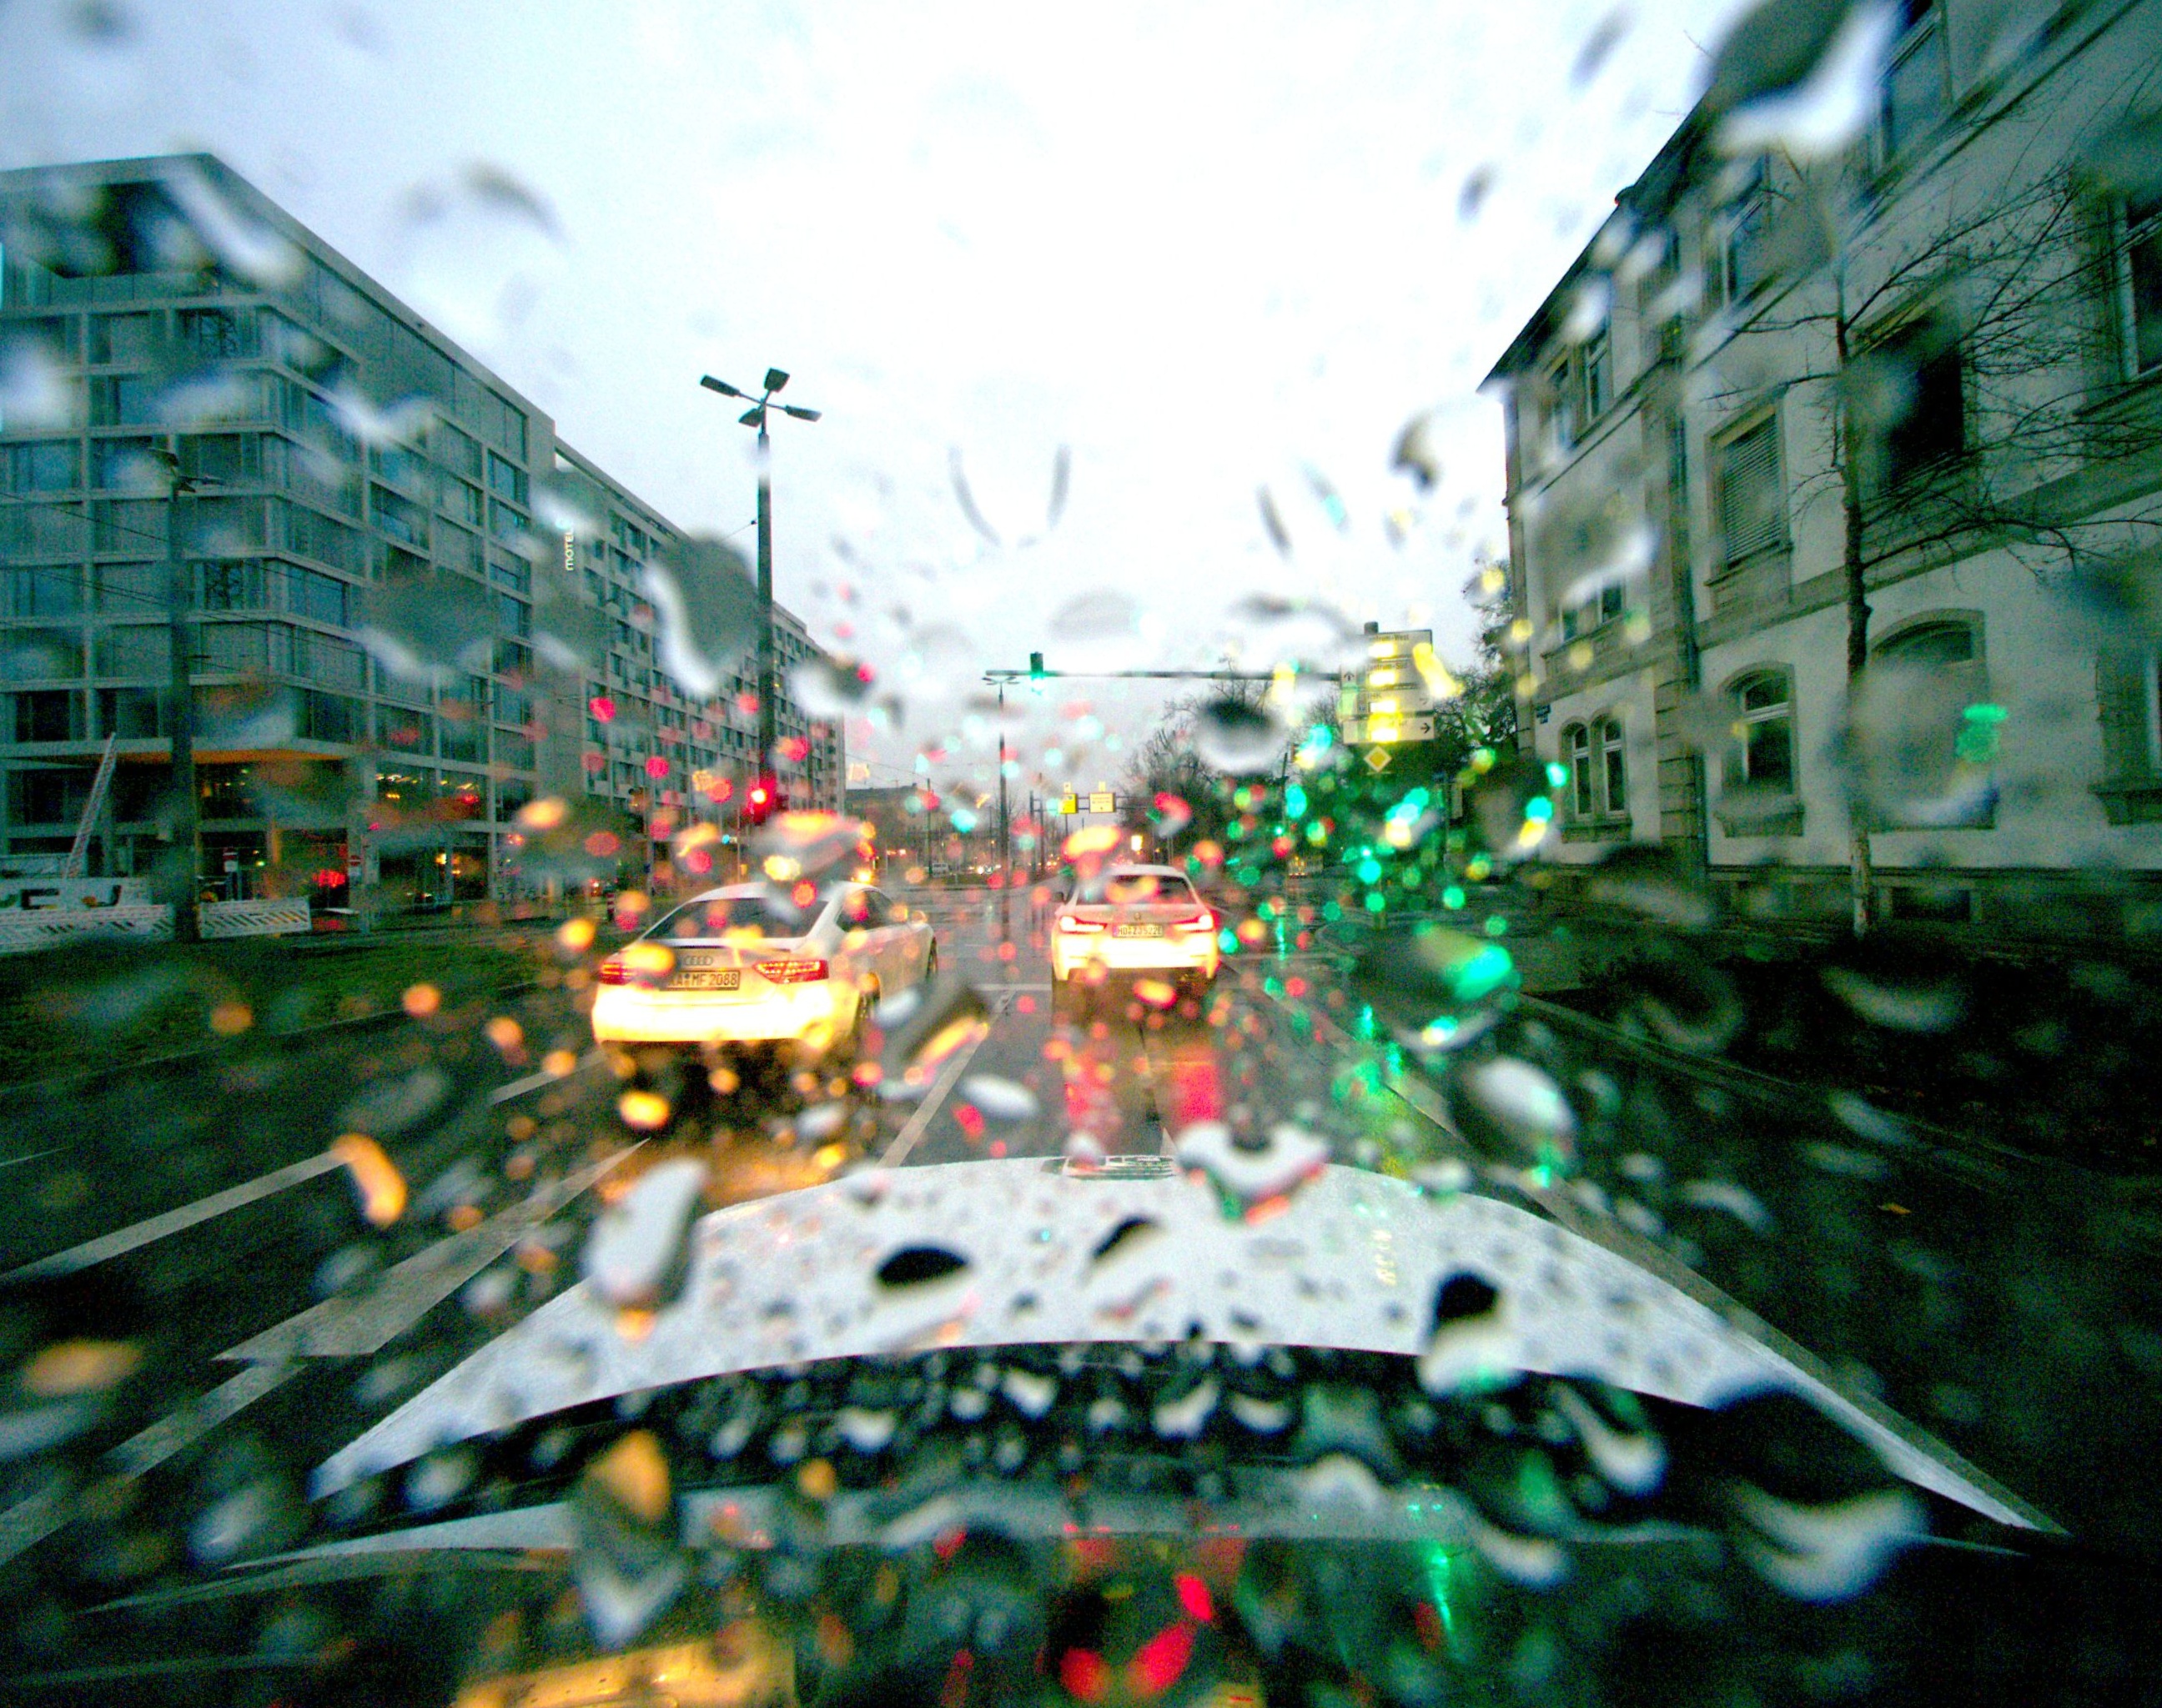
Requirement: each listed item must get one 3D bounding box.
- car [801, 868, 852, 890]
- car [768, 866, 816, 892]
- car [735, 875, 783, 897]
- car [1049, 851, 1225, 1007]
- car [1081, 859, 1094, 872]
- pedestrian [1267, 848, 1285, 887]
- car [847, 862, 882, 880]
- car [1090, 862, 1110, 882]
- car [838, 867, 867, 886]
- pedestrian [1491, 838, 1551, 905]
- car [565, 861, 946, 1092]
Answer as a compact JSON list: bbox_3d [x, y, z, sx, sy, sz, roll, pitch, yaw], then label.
[{"bbox_3d":[-18.665,1.801,60.004,1.986,1.462,5.097,0,-1,2],"label":"car"},{"bbox_3d":[-21.808,1.852,61.590,1.874,1.789,4.600,0,-1,2],"label":"car"},{"bbox_3d":[-25.122,2.459,63.670,1.872,1.574,4.005,0,-1,5],"label":"car"},{"bbox_3d":[0.559,0.771,10.307,1.754,1.552,4.250,0,-1,0],"label":"car"},{"bbox_3d":[1.091,1.860,128.535,1.986,2.014,4.001,0,-1,2],"label":"car"},{"bbox_3d":[9.561,0.641,39.864,0.671,1.879,0.714,0,-1,-2],"label":"pedestrian"},{"bbox_3d":[-19.389,1.499,73.119,1.988,1.462,5.090,0,-1,-2],"label":"car"},{"bbox_3d":[1.985,1.800,84.401,1.986,2.014,4.001,0,-1,2],"label":"car"},{"bbox_3d":[-18.781,1.825,67.023,1.995,1.462,5.073,0,-1,-12],"label":"car"},{"bbox_3d":[10.653,0.419,19.729,1.007,1.579,0.782,0,-1,-8],"label":"pedestrian"},{"bbox_3d":[-2.460,0.809,7.401,1.754,1.470,4.250,0,-1,0],"label":"car"}]
